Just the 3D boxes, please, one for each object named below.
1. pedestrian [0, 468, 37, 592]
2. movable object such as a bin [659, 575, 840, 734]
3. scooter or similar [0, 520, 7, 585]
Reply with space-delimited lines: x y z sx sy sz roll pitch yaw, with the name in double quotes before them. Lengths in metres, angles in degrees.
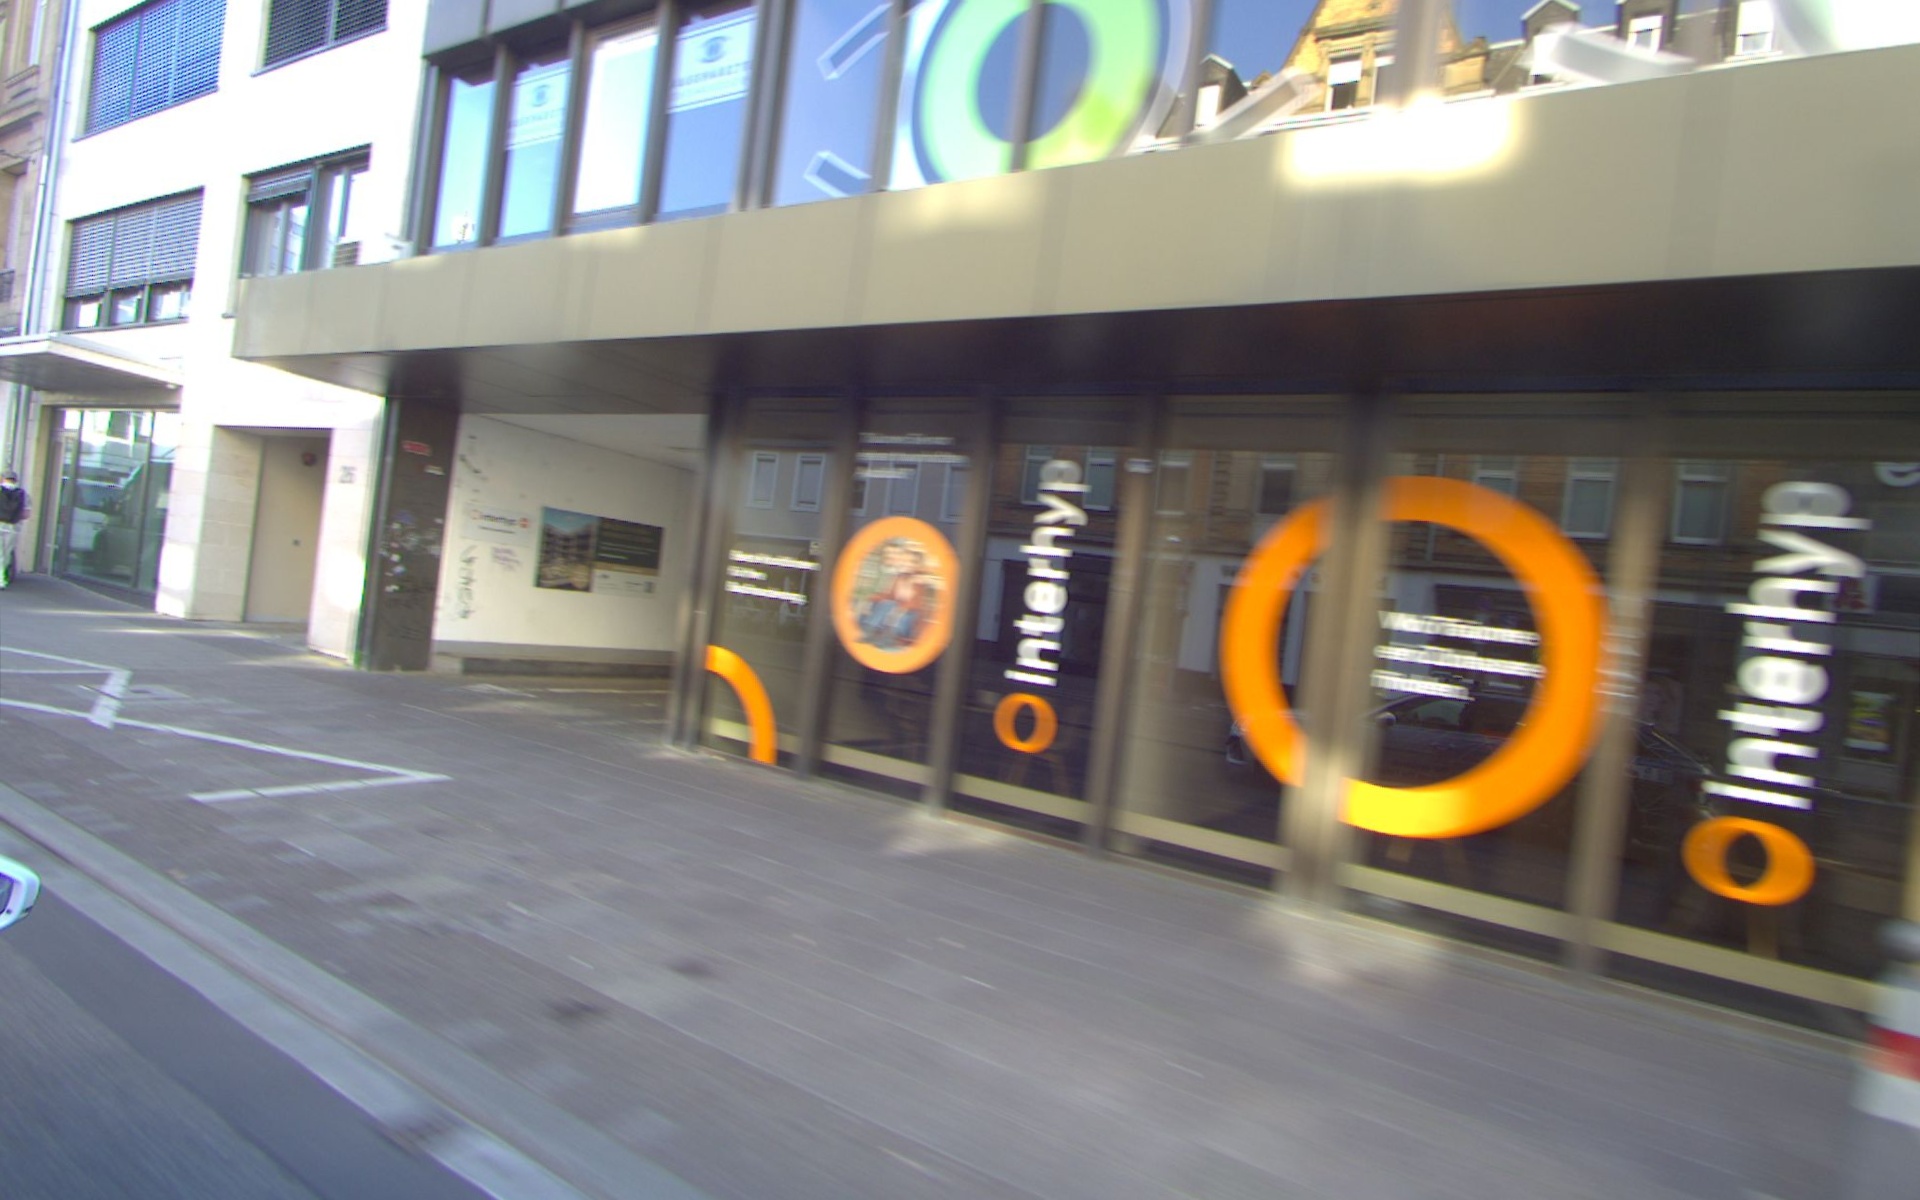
"pedestrian" -13.896 -1.034 14.484 0.938 1.737 0.556 7 2 31
"movable object such as a bin" -2.172 0.570 10.507 1.020 1.446 1.415 7 0 31
"scooter or similar" -14.767 -0.776 14.890 1.276 0.948 0.594 7 2 30
